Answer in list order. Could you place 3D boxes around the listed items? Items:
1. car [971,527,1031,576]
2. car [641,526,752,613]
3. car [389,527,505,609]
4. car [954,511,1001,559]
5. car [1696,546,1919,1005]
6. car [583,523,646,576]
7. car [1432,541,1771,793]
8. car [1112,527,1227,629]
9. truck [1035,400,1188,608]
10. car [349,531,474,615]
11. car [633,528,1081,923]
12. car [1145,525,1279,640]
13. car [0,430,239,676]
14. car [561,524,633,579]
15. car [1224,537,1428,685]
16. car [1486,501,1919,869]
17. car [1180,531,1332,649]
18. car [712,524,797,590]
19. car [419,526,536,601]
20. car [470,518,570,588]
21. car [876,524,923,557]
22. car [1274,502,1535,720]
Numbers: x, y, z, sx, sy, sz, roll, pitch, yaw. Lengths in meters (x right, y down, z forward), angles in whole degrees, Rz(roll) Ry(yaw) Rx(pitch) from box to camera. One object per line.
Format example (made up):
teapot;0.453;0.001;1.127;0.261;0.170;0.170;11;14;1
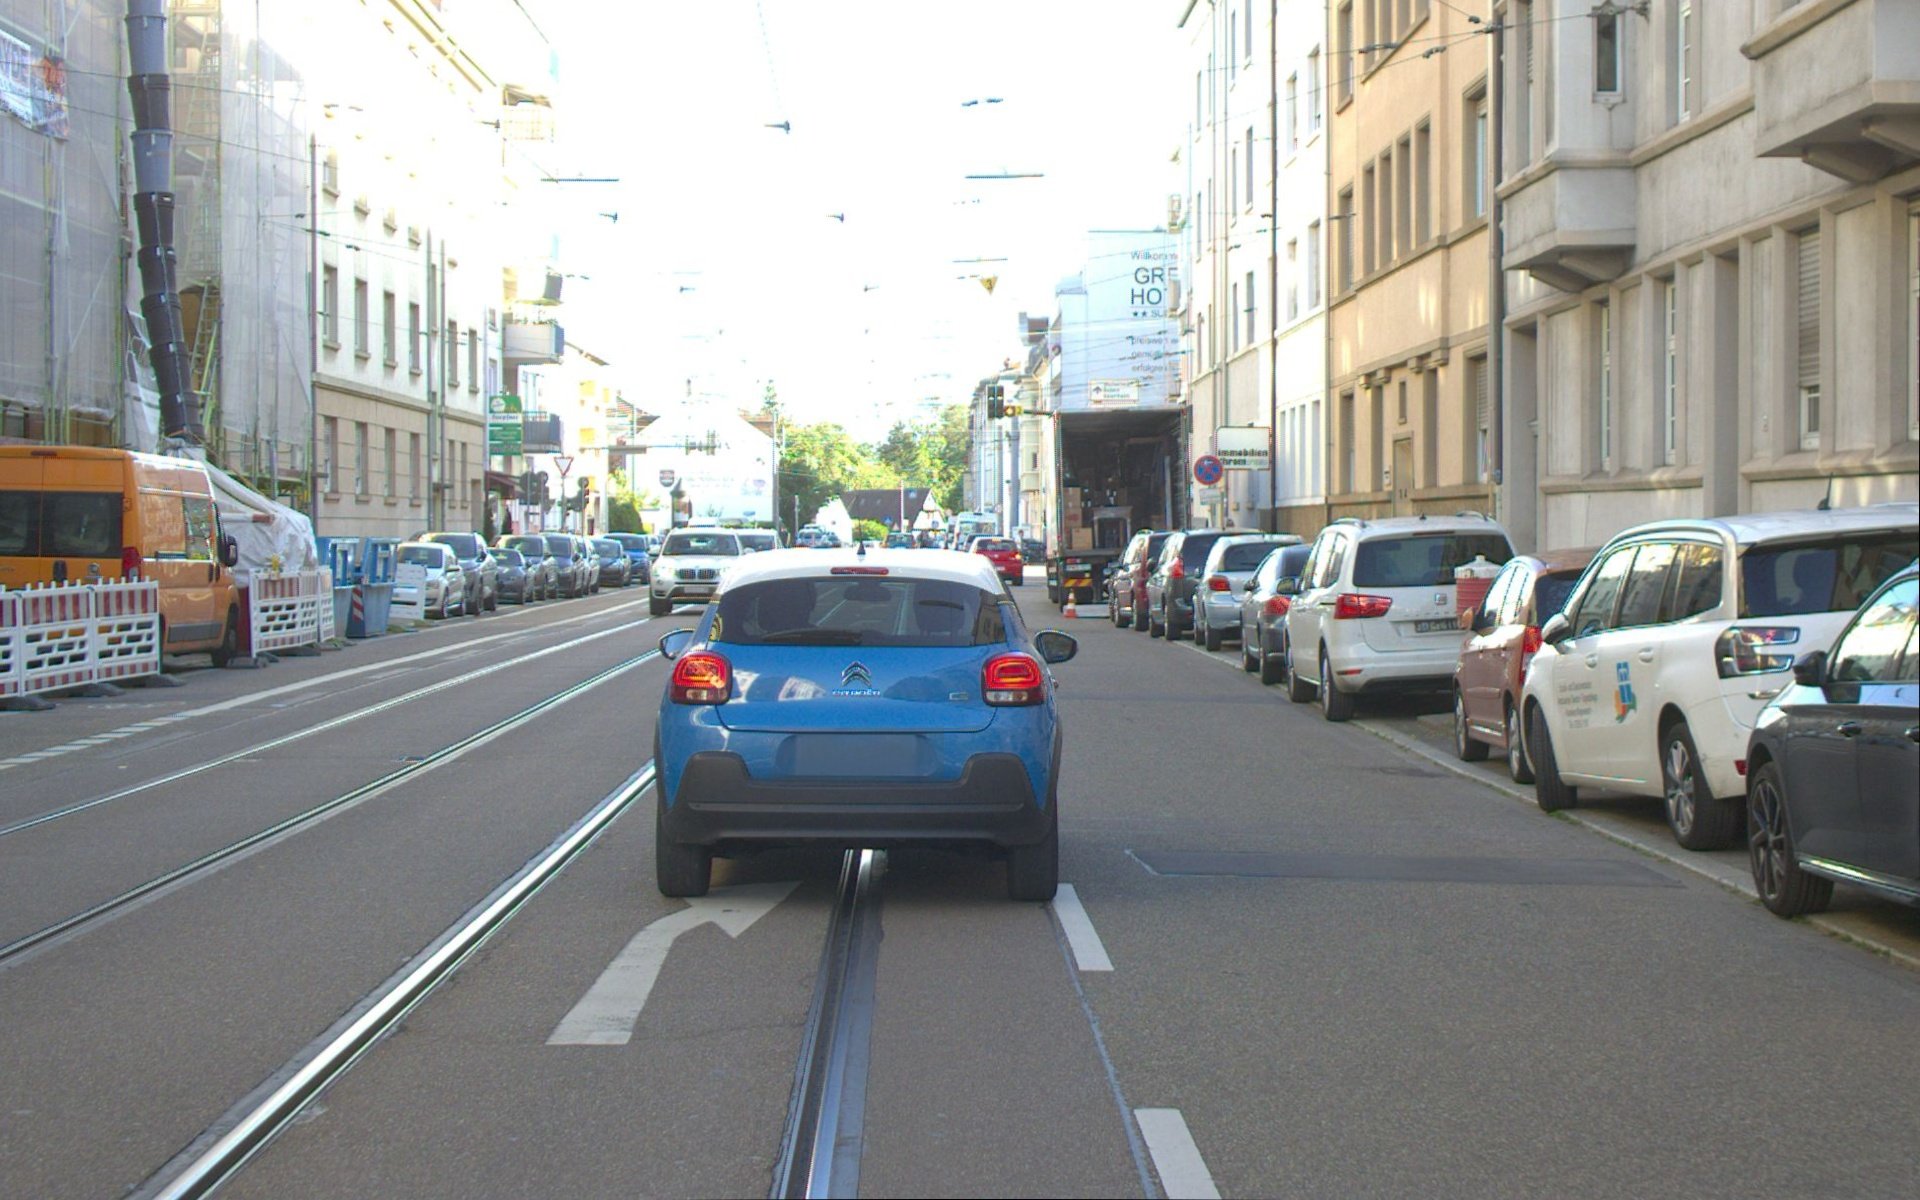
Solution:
car;1.247;-1.505;106.383;1.765;1.481;4.032;0;1;0
car;-5.067;-0.613;66.604;1.826;1.626;4.491;0;1;0
car;-10.330;-0.674;69.461;1.714;1.588;4.267;0;1;0
car;0.831;-3.130;165.090;2.220;2.276;4.084;0;1;0
car;4.130;0.585;13.205;1.655;1.561;4.338;0;1;0
car;-10.978;-1.622;109.379;1.826;1.626;3.906;0;1;-3
car;4.266;0.390;23.349;1.614;1.555;3.600;0;1;0
car;3.458;-0.394;57.347;1.664;1.627;3.871;0;1;0
truck;3.095;-2.002;73.021;2.853;4.069;11.271;0;1;1
car;-10.326;-0.533;64.958;1.714;1.512;4.048;0;1;0
car;-0.424;0.457;15.684;1.735;1.502;3.993;2;1;0
car;3.728;-0.302;51.327;1.664;1.641;4.222;0;1;0
car;-9.331;-0.536;37.307;2.144;2.467;4.981;-1;1;-3
car;-10.911;-1.473;103.560;1.826;1.626;3.905;0;1;-1
car;3.869;0.073;36.964;1.722;1.481;4.222;0;1;0
car;4.220;0.353;18.704;1.654;1.746;4.604;0;1;-5
car;3.953;-0.175;46.485;1.664;1.514;4.222;0;1;0
car;-5.183;-1.112;87.201;1.901;1.626;4.267;0;1;0
car;-10.873;-0.848;77.718;2.144;1.616;4.001;-1;1;-1
car;-10.649;-1.161;83.488;1.826;1.626;4.849;0;1;0
car;-2.809;-2.791;160.489;2.180;1.481;4.160;0;1;0
car;3.942;0.039;31.162;1.730;1.821;4.687;0;1;0
